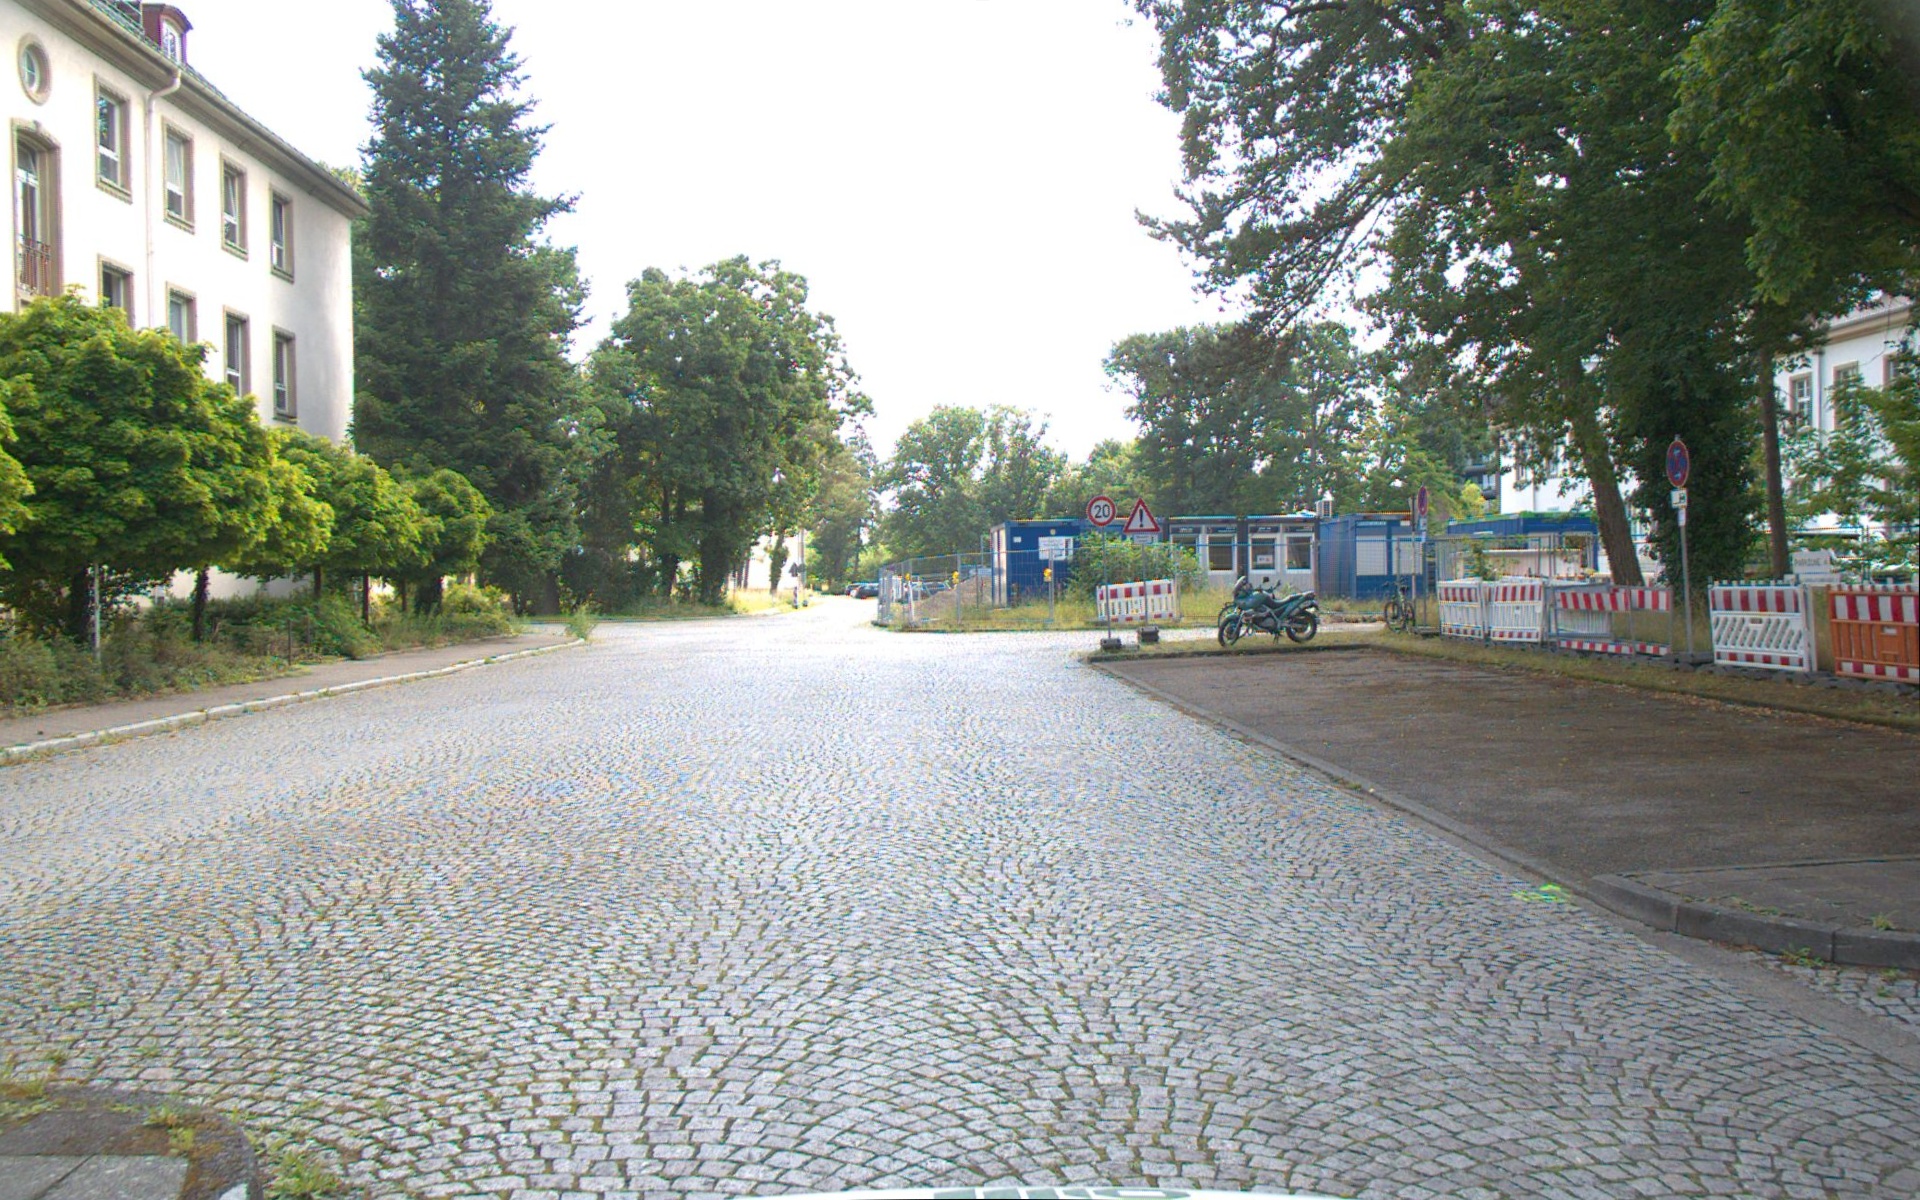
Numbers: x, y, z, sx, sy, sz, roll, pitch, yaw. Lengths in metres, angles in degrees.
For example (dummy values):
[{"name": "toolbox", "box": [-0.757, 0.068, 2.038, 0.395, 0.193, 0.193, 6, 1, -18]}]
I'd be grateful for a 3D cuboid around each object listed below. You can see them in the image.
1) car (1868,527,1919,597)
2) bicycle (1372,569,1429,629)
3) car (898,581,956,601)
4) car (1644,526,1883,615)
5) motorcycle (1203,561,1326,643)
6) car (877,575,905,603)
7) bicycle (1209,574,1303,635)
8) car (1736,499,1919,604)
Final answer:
[{"name": "car", "box": [26.356, -0.994, 43.765, 1.953, 1.857, 4.874, 0, 0, -1]}, {"name": "bicycle", "box": [9.025, -0.034, 33.959, 0.629, 1.189, 1.905, -2, 1, -1]}, {"name": "car", "box": [-2.583, -0.700, 128.971, 4.309, 1.537, 2.001, 0, 0, 5]}, {"name": "car", "box": [18.931, -0.723, 39.107, 4.760, 1.954, 1.906, -1, 2, -2]}, {"name": "motorcycle", "box": [5.953, 0.034, 32.374, 2.234, 1.511, 0.755, -2, 1, -8]}, {"name": "car", "box": [-5.153, -0.803, 123.089, 1.954, 2.049, 4.088, -1, 0, -4]}, {"name": "bicycle", "box": [6.217, 0.095, 34.761, 1.858, 1.218, 0.656, -1, 1, 17]}, {"name": "car", "box": [22.889, -1.218, 43.721, 1.953, 2.600, 5.909, 0, 0, -1]}]
